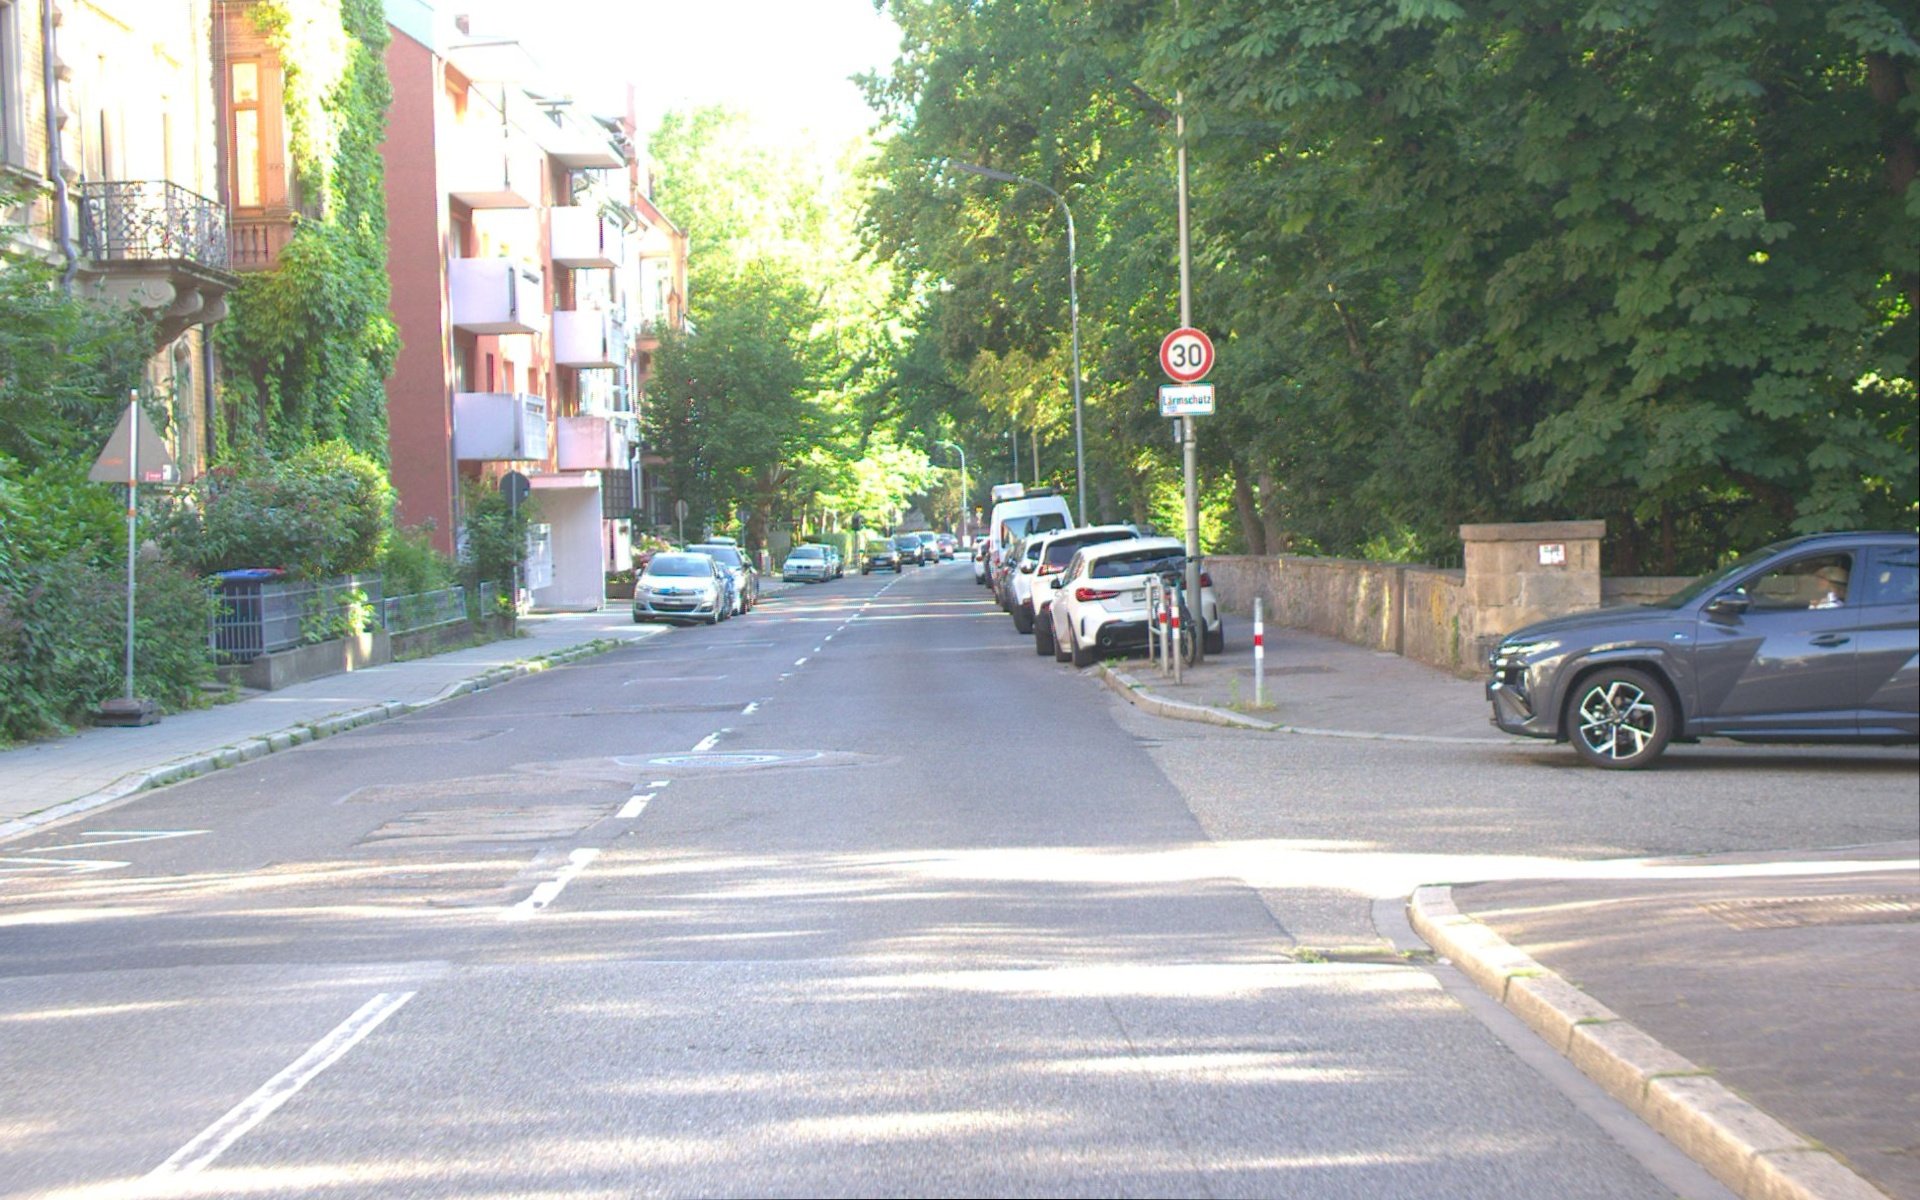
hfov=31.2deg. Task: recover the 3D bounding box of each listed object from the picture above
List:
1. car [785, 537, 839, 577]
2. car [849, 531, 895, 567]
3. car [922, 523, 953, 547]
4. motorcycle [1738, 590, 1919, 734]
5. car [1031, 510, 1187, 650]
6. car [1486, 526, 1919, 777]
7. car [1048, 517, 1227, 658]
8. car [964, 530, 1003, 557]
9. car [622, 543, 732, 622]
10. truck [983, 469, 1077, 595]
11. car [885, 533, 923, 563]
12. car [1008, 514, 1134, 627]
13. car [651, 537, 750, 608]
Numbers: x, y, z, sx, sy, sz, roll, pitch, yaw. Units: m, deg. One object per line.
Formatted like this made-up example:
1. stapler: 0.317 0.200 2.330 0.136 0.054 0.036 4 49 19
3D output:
1. car: -6.070 -1.780 141.066 1.993 1.486 4.471 -2 2 0
2. car: -4.056 -2.357 158.690 1.993 1.486 4.471 -2 2 0
3. car: -1.488 -4.351 229.855 1.993 1.486 4.471 -2 2 0
4. motorcycle: 7.273 0.490 27.554 1.906 1.108 0.790 0 2 2
5. car: 2.010 -0.313 47.474 1.993 1.731 4.000 -2 2 1
6. car: 5.941 0.326 24.117 4.438 1.647 2.000 0 2 8
7. car: 2.115 -0.189 41.953 1.993 1.512 4.000 -2 2 1
8. car: 1.430 -3.445 209.695 1.993 1.486 4.471 -2 2 -3
9. car: -6.068 -0.405 74.146 1.993 1.486 4.471 -2 2 0
10. truck: 1.663 -1.686 83.098 1.993 2.887 4.471 -2 2 -1
11. car: -3.073 -2.873 188.678 1.993 1.486 4.471 -2 2 0
12. car: 1.847 -0.531 58.135 1.993 1.731 4.000 -2 2 1
13. car: -6.146 -0.686 81.826 1.993 1.486 4.471 -2 2 0
